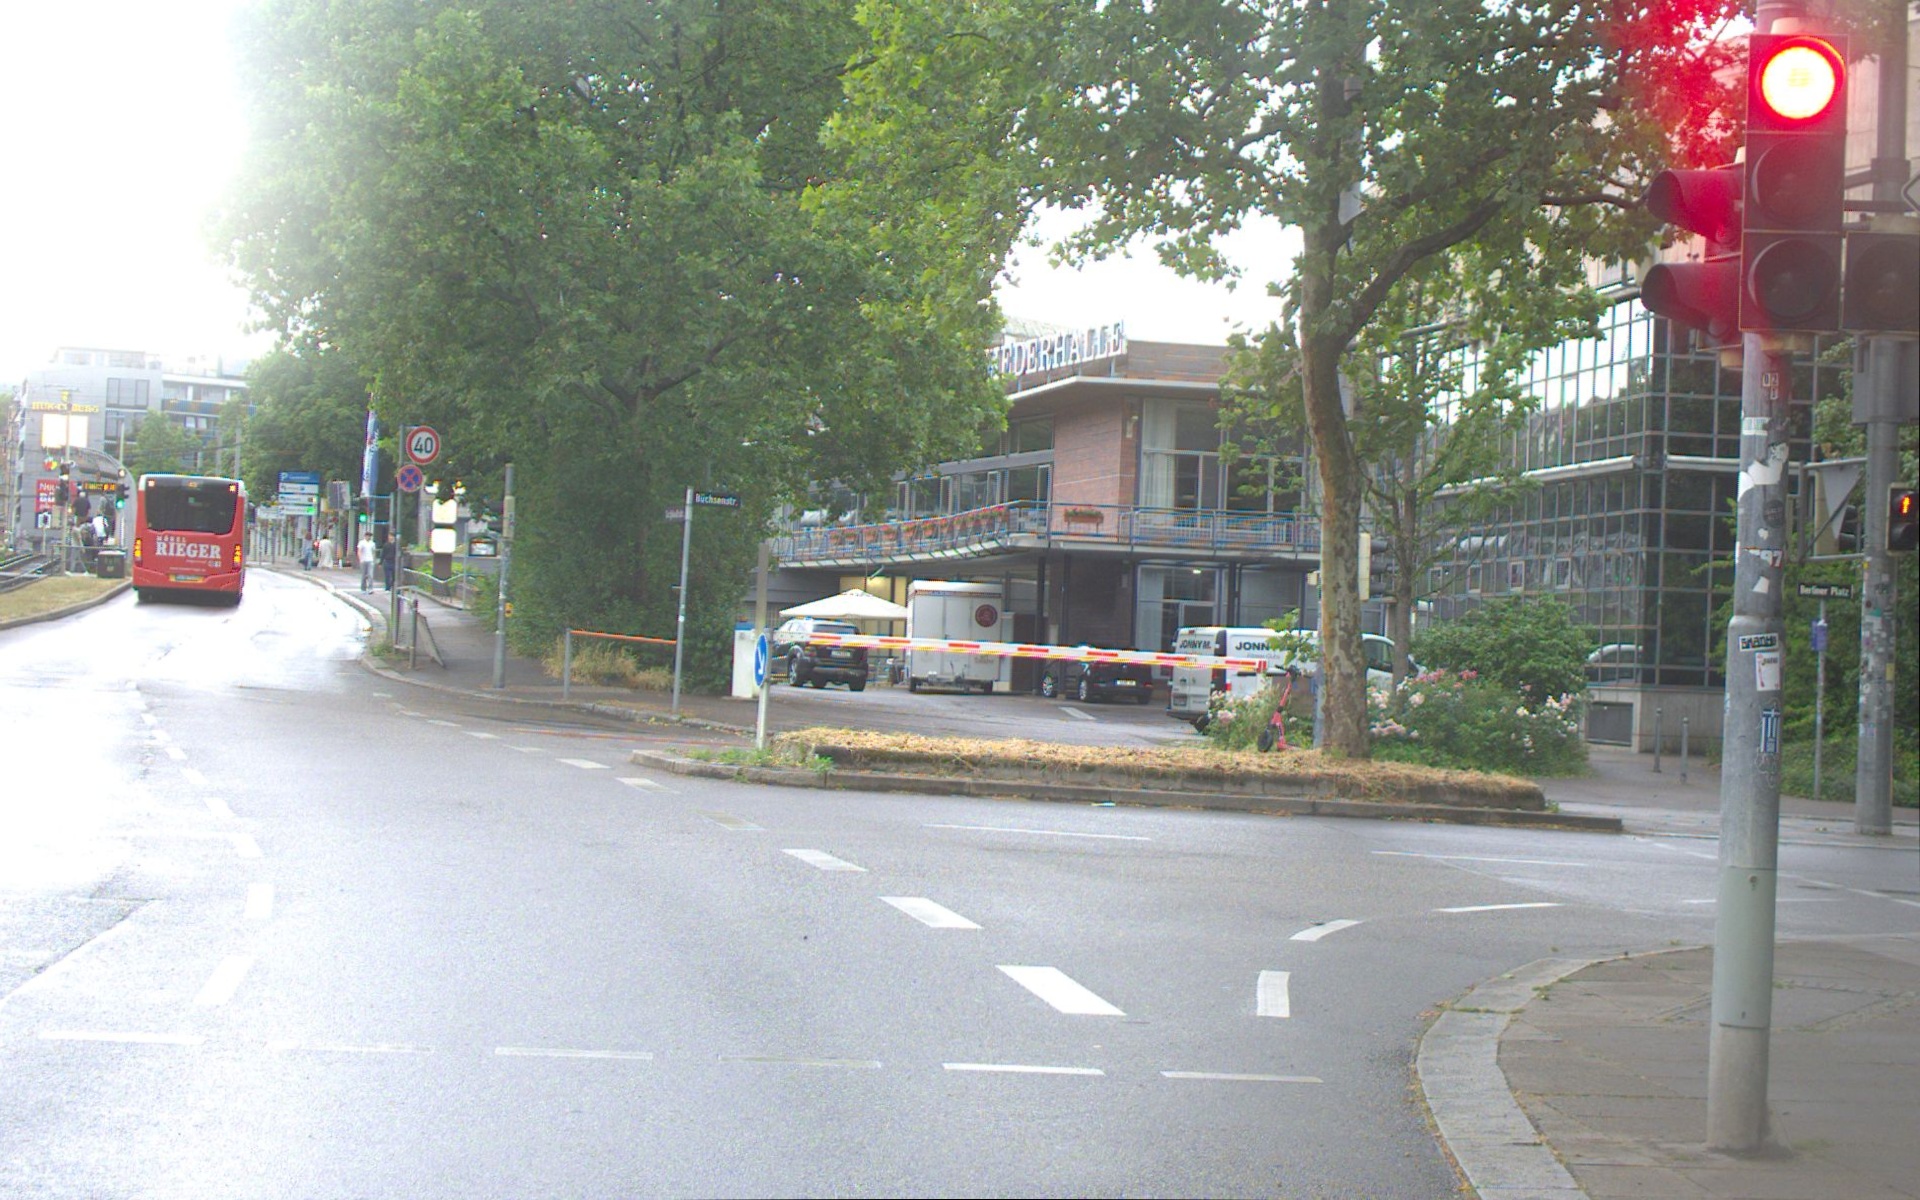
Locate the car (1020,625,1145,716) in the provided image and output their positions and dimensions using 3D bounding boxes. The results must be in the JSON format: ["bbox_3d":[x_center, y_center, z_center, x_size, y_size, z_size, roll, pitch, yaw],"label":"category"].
[{"bbox_3d":[2.982,1.707,84.432,1.993,2.007,4.001,4,-1,-13],"label":"car"}]

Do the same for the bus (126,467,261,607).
[{"bbox_3d":[-18.965,-1.501,85.518,2.654,3.100,9.187,4,-1,-10],"label":"bus"}]

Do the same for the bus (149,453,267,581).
[{"bbox_3d":[-20.297,-2.155,93.164,2.549,3.100,9.458,4,-1,-10],"label":"bus"}]

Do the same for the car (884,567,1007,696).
[{"bbox_3d":[-0.413,0.810,90.535,2.544,3.123,5.032,4,-1,-6],"label":"car"}]

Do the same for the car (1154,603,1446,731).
[{"bbox_3d":[6.140,1.206,62.050,4.745,1.937,2.001,4,-1,-22],"label":"car"}]

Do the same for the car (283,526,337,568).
[{"bbox_3d":[-28.621,-2.302,151.306,1.993,1.678,4.001,4,-1,-14],"label":"car"}]

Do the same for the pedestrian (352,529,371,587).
[{"bbox_3d":[-17.896,-1.265,102.861,0.371,1.702,0.644,3,0,-1],"label":"pedestrian"}]

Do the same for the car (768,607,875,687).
[{"bbox_3d":[-3.564,1.186,87.913,1.993,1.853,4.001,4,-1,-12],"label":"car"}]

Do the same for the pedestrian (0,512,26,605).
[{"bbox_3d":[-17.348,-0.756,62.206,0.737,1.634,0.871,4,-1,-16],"label":"pedestrian"}]

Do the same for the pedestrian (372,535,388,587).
[{"bbox_3d":[-17.387,-1.168,103.047,0.371,1.520,0.344,3,0,-1],"label":"pedestrian"}]
